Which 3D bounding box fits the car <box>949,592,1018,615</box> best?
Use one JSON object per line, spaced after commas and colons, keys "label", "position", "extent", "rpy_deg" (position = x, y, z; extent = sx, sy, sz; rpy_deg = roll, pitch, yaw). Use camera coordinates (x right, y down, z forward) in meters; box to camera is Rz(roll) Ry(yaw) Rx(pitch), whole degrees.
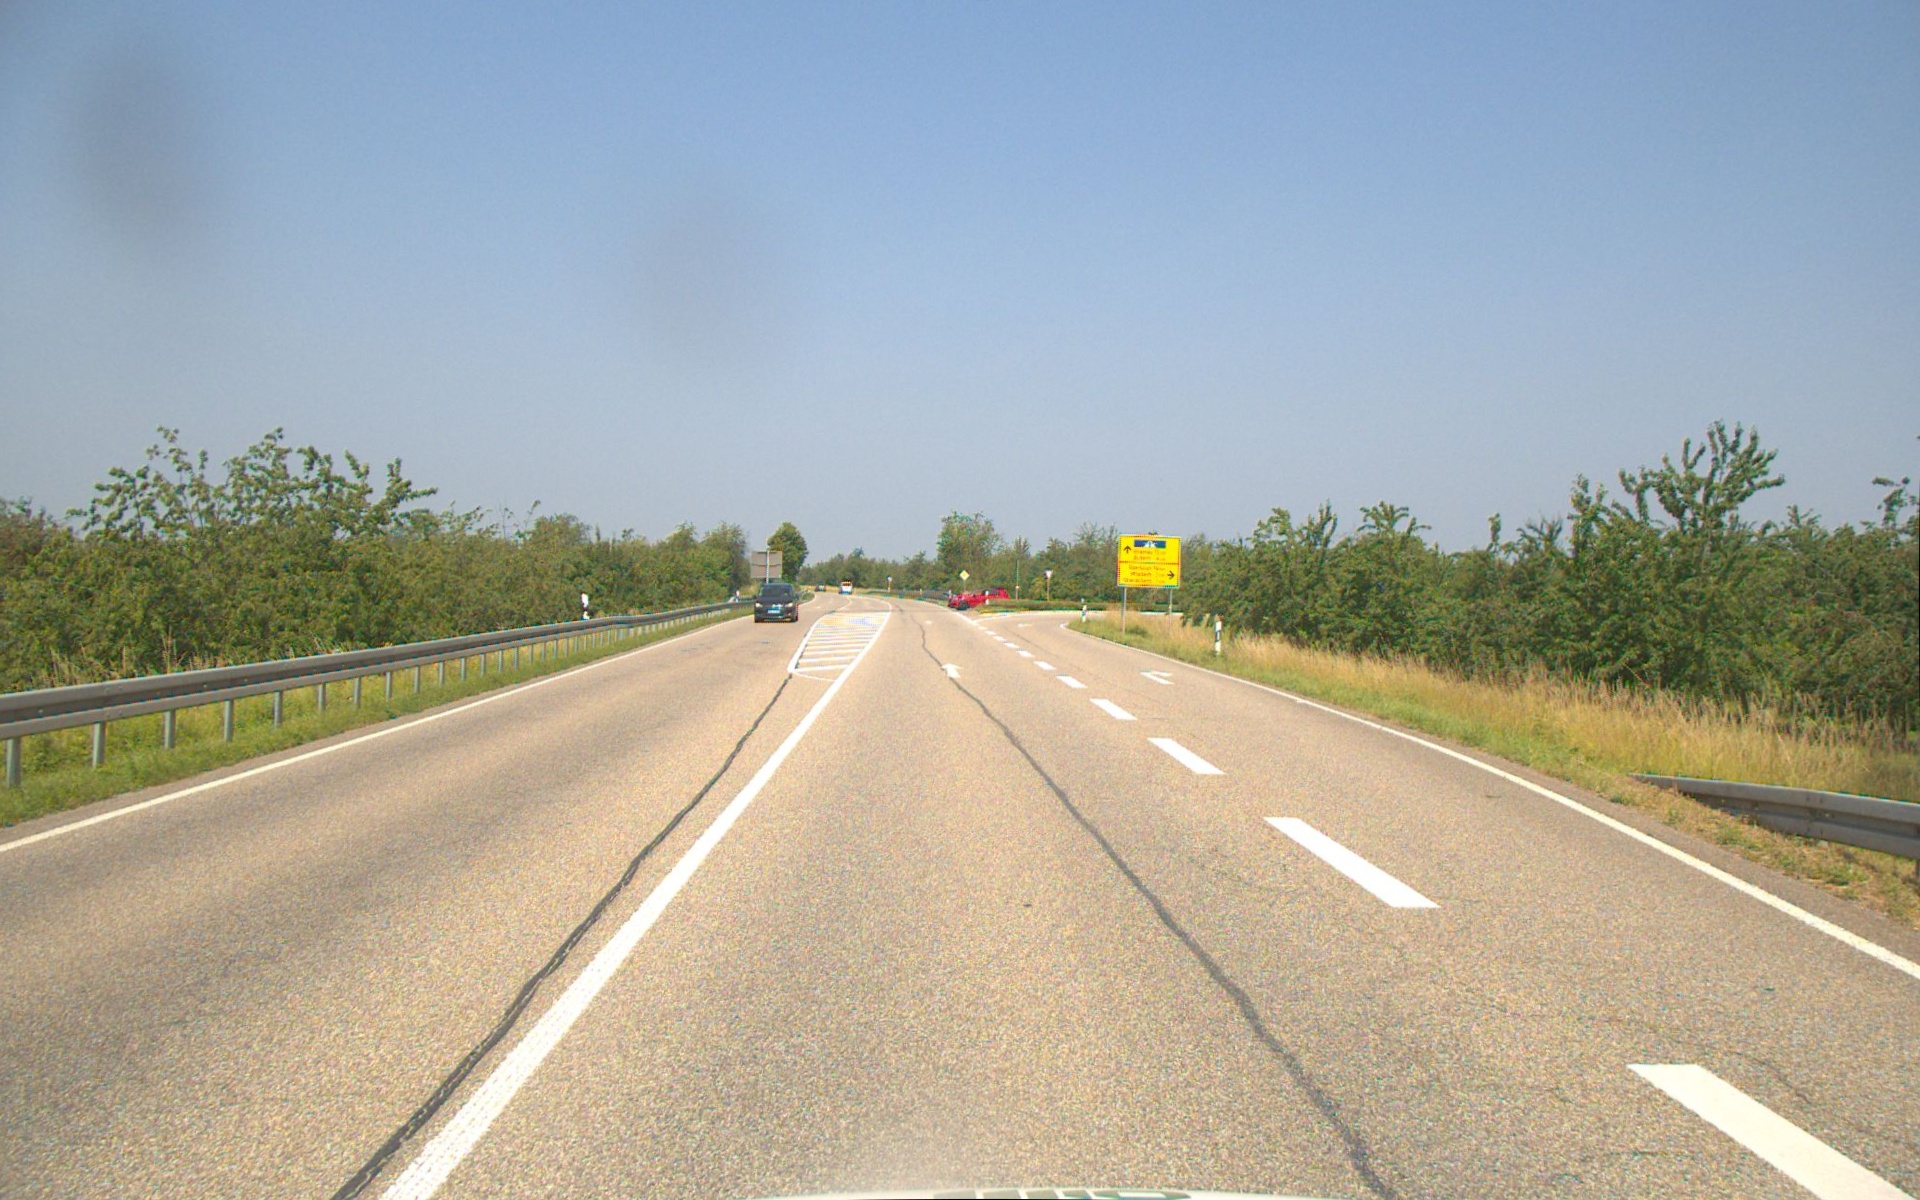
{"label": "car", "position": [1.549, 0.204, 109.580], "extent": [4.394, 1.474, 1.819], "rpy_deg": [1, 0, -7]}

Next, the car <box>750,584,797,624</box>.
{"label": "car", "position": [-7.995, 0.183, 71.364], "extent": [1.768, 1.666, 4.806], "rpy_deg": [1, 0, -4]}
